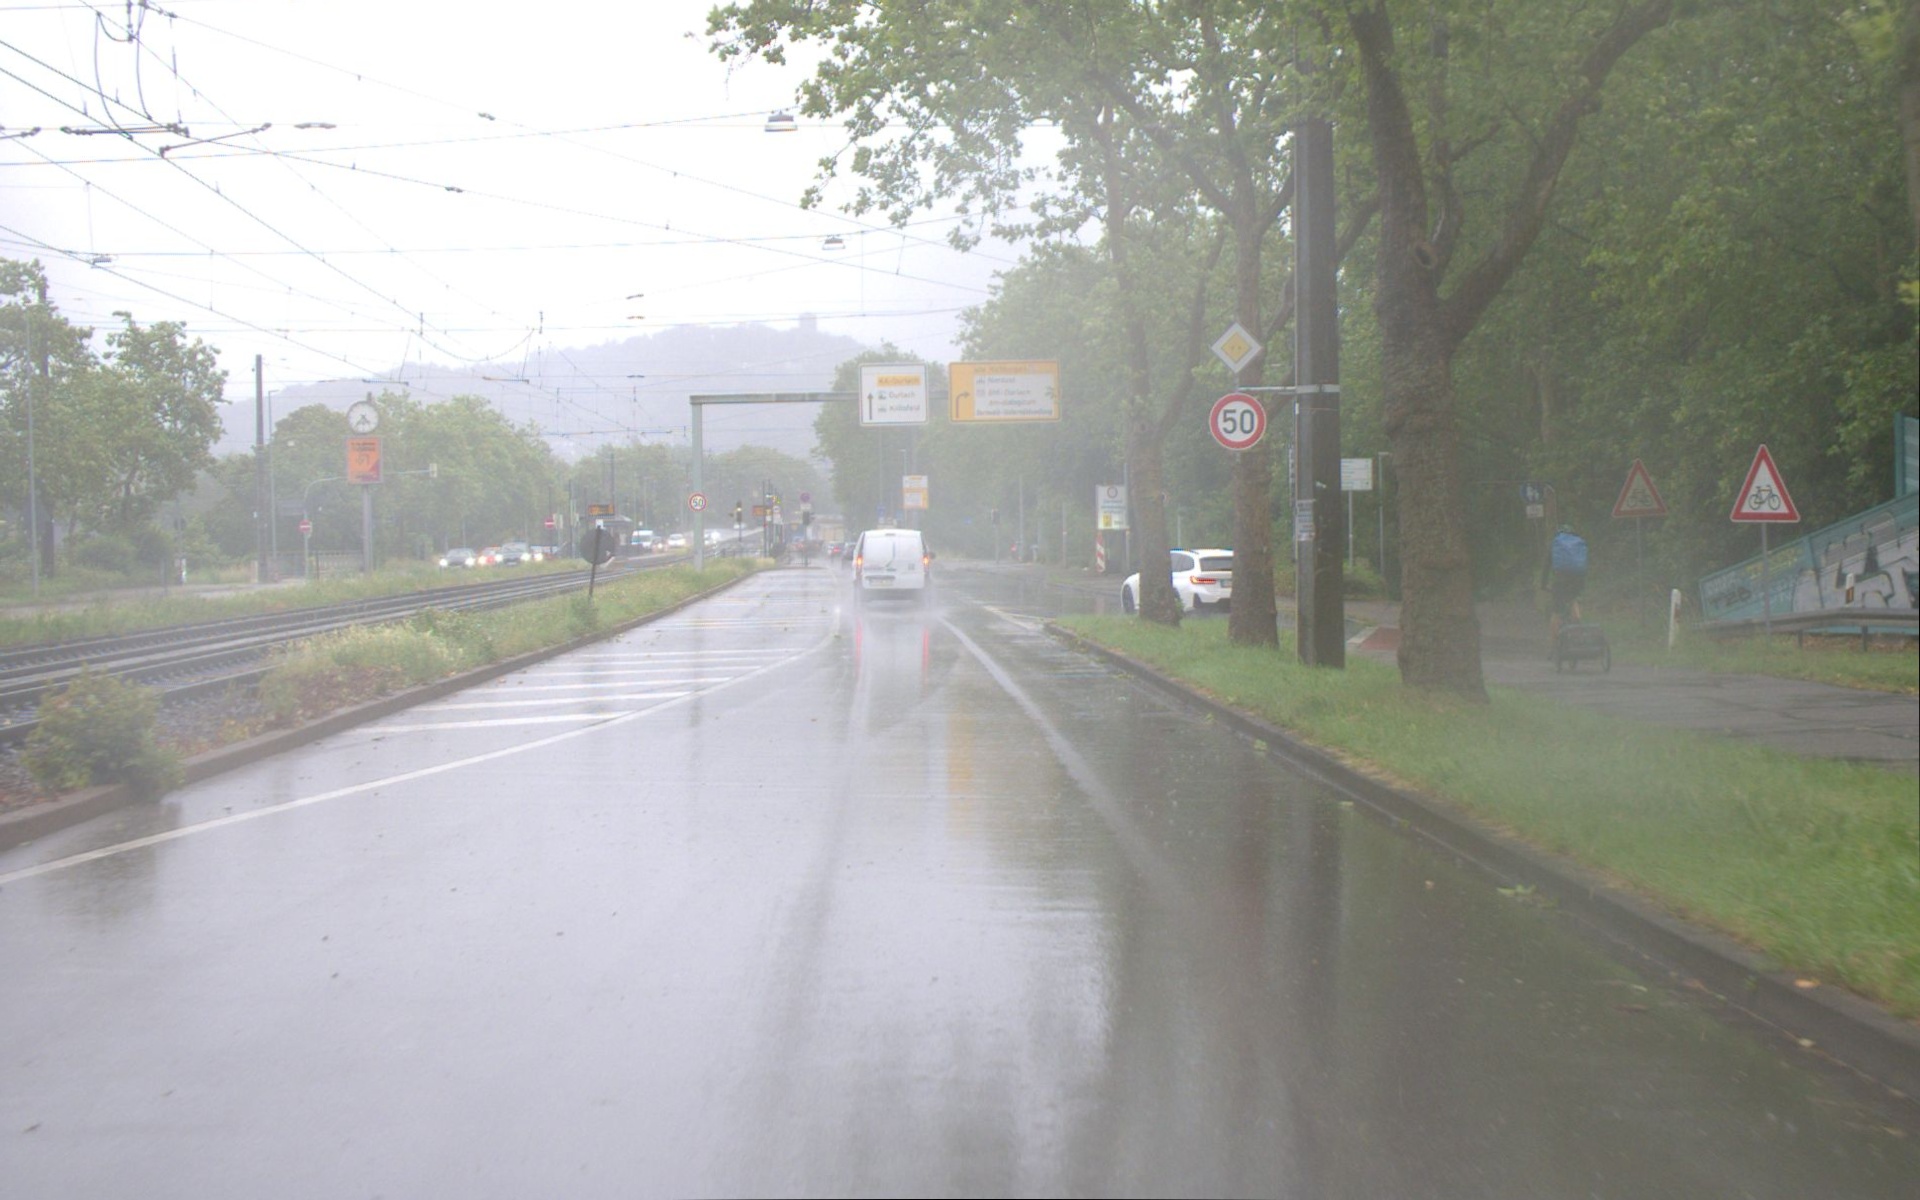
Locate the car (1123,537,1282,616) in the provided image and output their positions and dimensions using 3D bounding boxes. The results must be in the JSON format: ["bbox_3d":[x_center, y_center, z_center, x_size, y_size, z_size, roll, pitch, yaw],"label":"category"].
[{"bbox_3d":[4.886,-0.496,69.938,1.948,1.531,4.468,-1,1,-14],"label":"car"}]

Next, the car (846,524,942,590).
[{"bbox_3d":[-1.537,-1.003,78.782,2.077,1.415,4.000,-2,1,-2],"label":"car"}]

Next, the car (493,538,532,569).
[{"bbox_3d":[-24.446,-2.565,187.784,1.943,1.610,4.990,-1,1,-6],"label":"car"}]

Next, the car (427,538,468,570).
[{"bbox_3d":[-28.032,-2.527,188.165,1.943,1.680,4.781,-1,1,-5],"label":"car"}]
